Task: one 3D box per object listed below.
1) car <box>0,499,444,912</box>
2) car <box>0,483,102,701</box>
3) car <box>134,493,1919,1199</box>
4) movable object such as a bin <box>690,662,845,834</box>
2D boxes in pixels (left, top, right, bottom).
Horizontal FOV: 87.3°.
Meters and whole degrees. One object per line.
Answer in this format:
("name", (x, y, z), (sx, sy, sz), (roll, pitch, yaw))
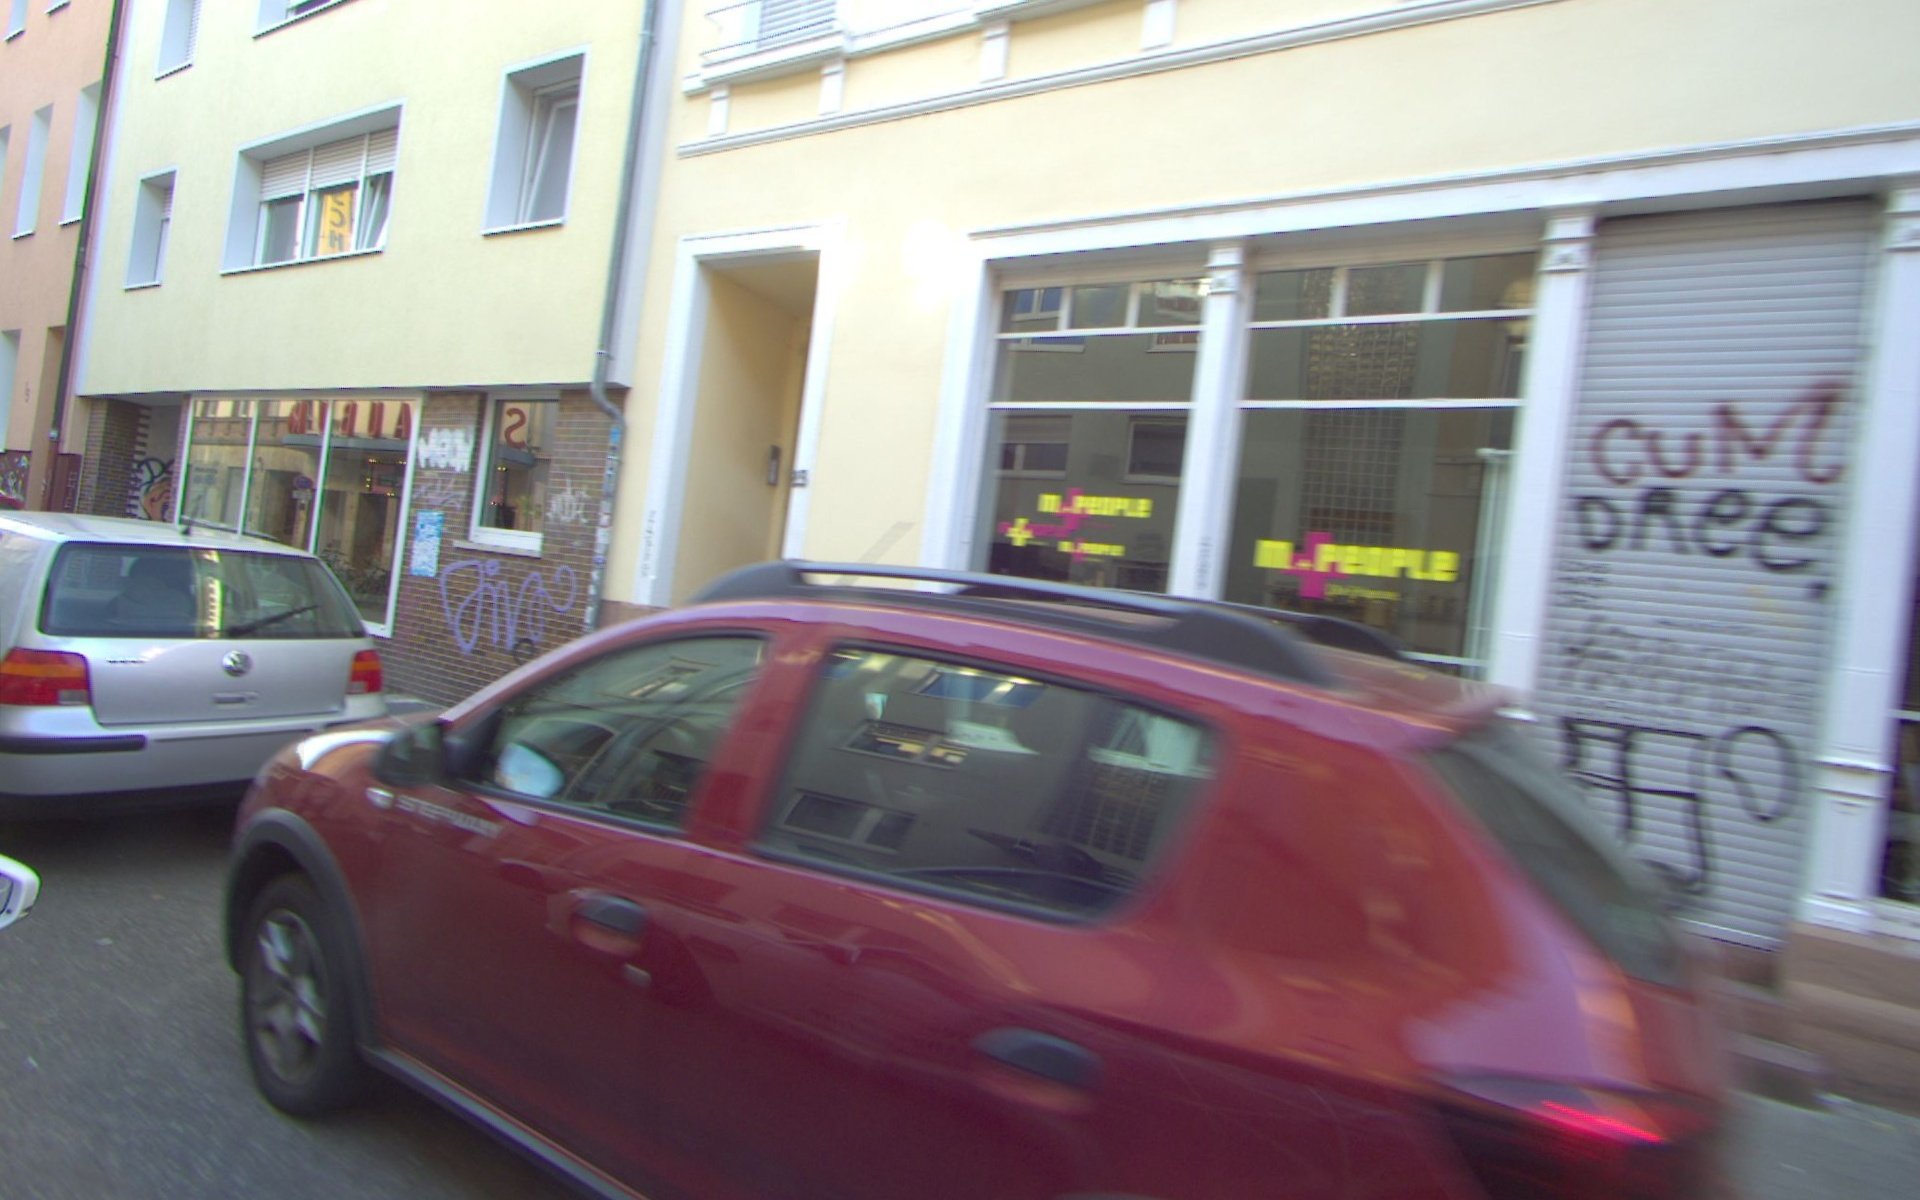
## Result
("car", (-4.847, 0.252, 5.376), (4.123, 1.471, 1.690), (7, 0, 31))
("car", (-8.596, -0.269, 7.903), (3.915, 1.542, 1.698), (7, 0, 33))
("car", (-0.218, 0.744, 2.673), (3.934, 1.570, 1.792), (7, -1, 32))
("movable object such as a bin", (-1.192, 0.907, 6.305), (0.502, 0.946, 0.708), (7, -1, 31))
